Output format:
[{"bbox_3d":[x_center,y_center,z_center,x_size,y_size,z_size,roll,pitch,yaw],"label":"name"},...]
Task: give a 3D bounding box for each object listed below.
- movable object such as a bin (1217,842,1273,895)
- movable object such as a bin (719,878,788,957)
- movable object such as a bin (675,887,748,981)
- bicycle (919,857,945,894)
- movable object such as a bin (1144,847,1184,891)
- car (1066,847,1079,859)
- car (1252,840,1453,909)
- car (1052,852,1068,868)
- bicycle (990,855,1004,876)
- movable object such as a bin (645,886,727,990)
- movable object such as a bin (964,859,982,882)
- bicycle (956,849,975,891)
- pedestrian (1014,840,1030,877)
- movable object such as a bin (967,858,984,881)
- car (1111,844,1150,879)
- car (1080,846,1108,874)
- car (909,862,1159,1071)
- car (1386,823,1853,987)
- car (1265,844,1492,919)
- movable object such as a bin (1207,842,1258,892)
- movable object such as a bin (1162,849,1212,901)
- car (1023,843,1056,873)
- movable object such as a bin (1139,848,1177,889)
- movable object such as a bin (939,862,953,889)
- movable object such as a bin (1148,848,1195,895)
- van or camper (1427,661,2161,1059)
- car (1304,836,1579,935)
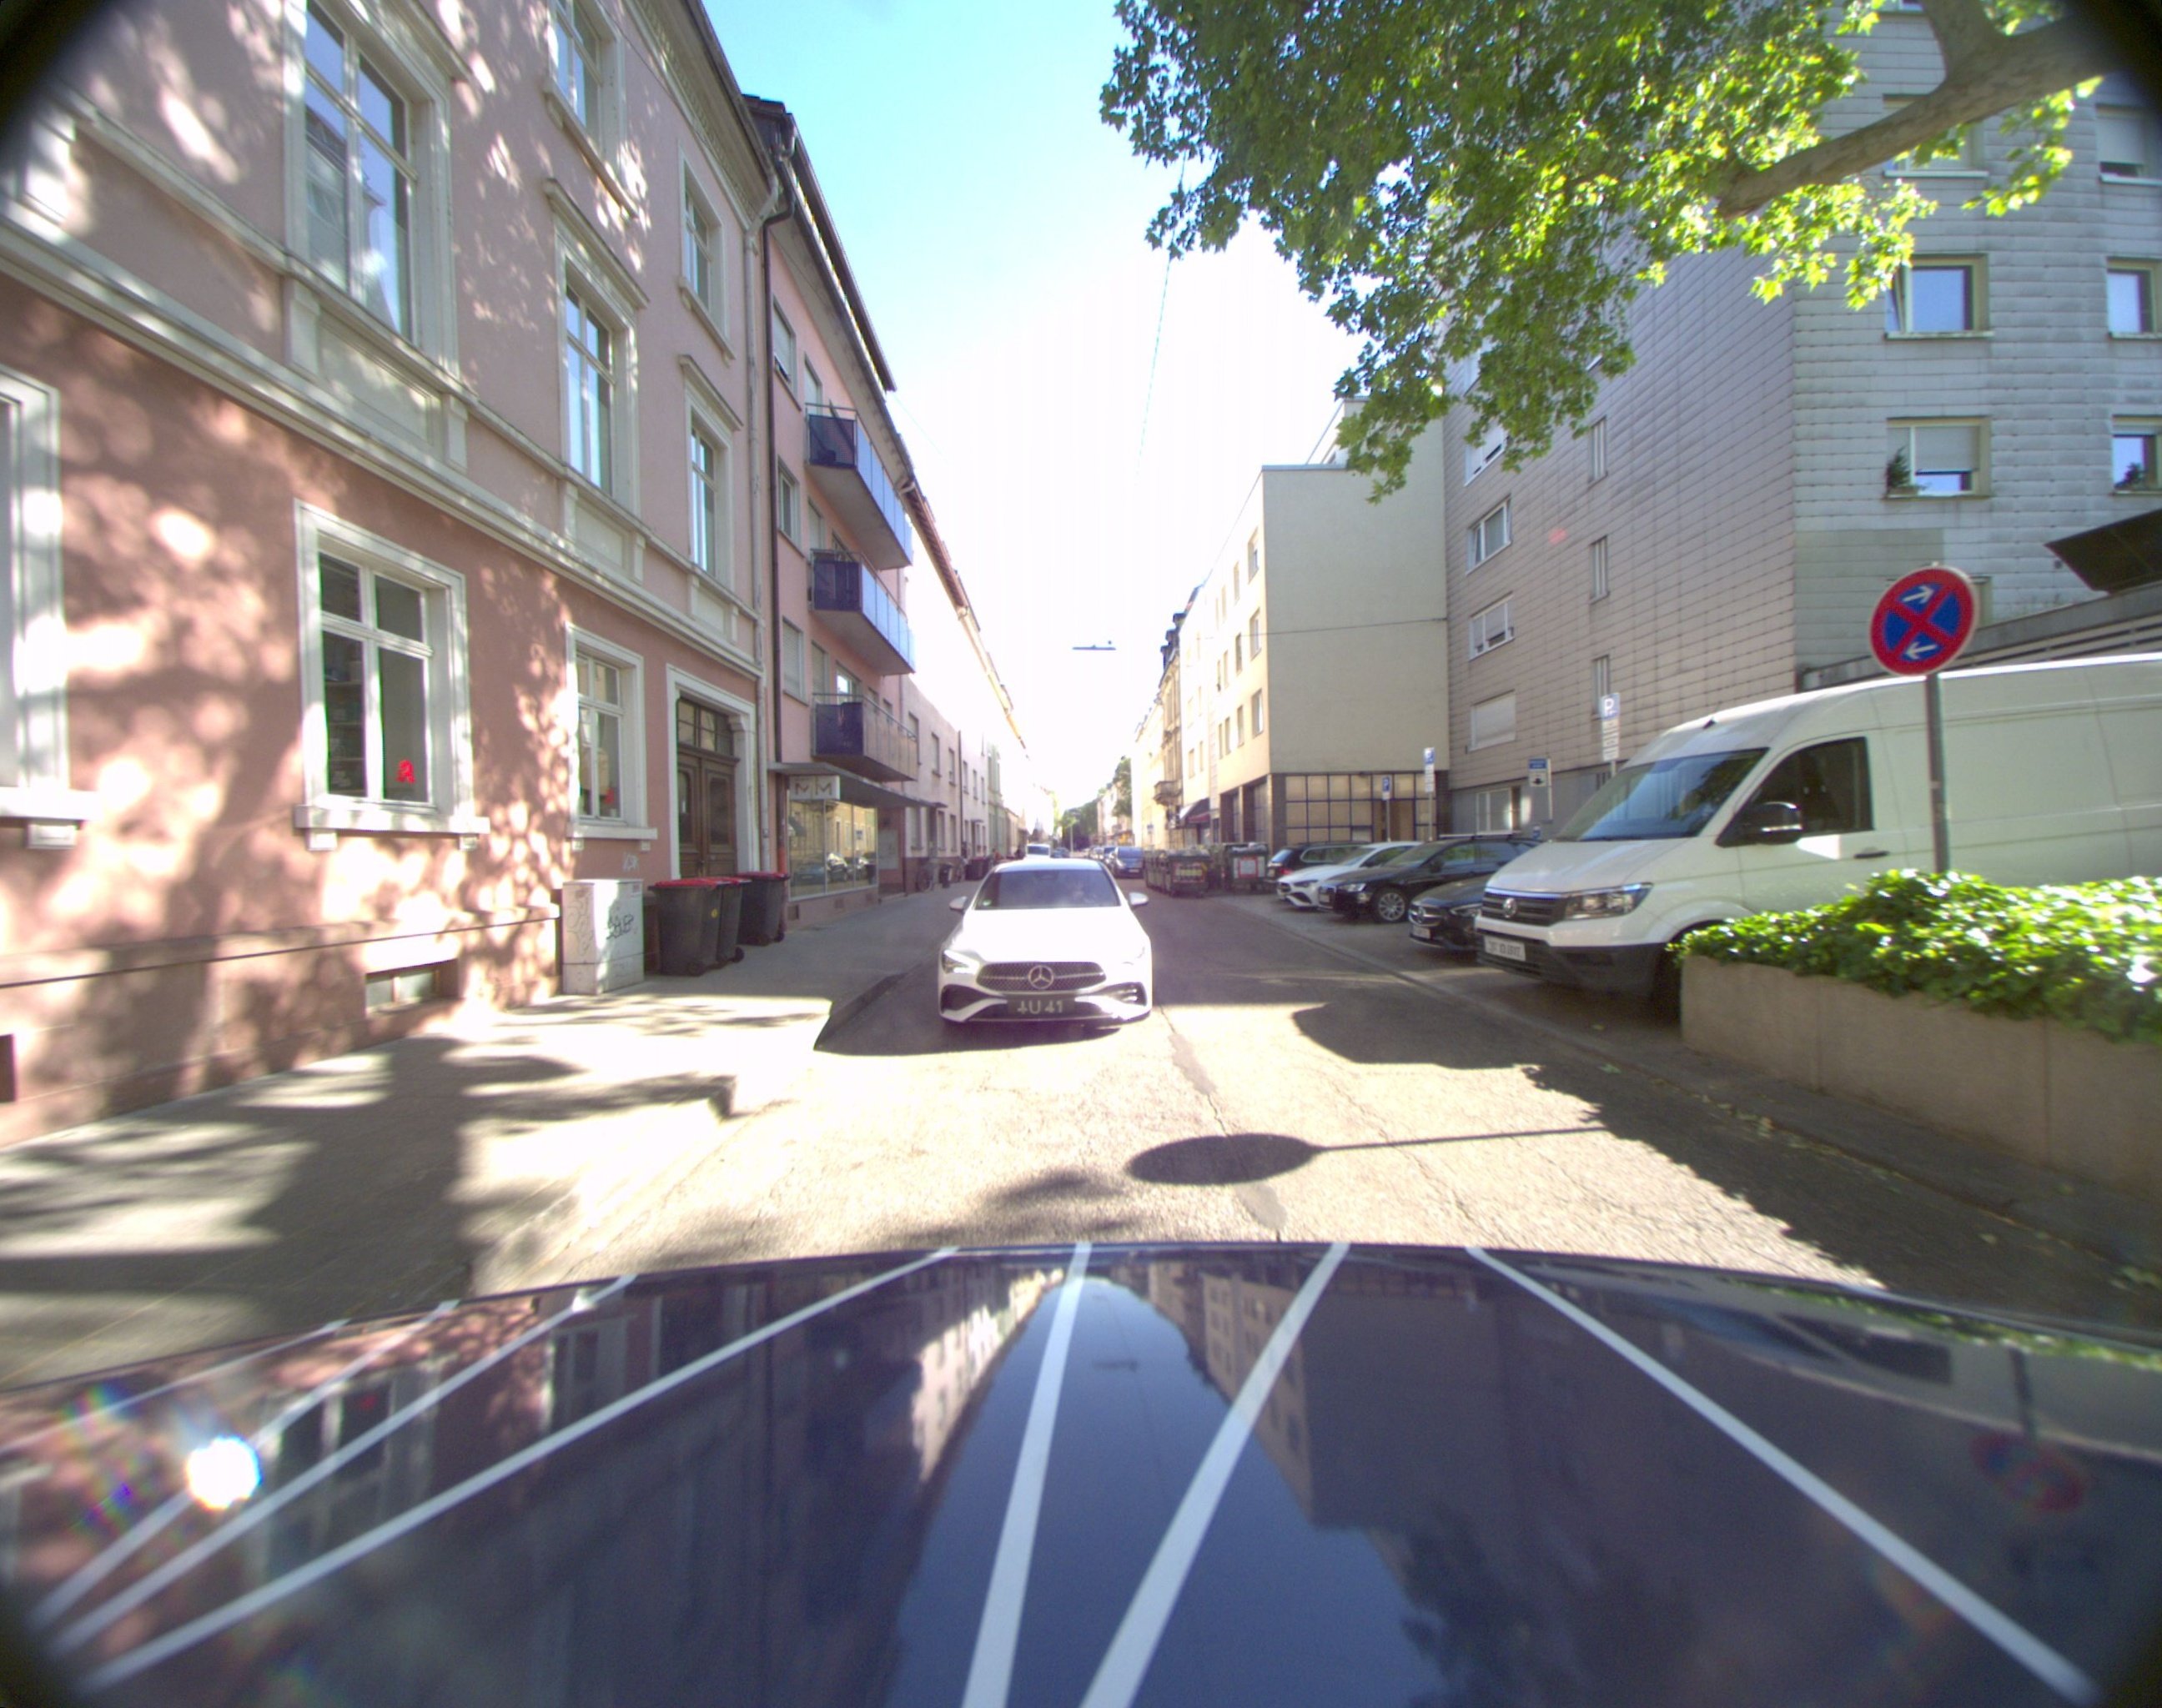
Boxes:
[{"bbox_3d":[4.847,0.407,22.547,1.328,1.492,1.194,-1,1,-2],"label":"movable object such as a bin"},{"bbox_3d":[-4.763,0.909,11.078,0.718,1.078,0.618,2,1,-2],"label":"movable object such as a bin"},{"bbox_3d":[-4.438,0.944,9.162,0.570,1.052,0.612,2,1,-2],"label":"movable object such as a bin"},{"bbox_3d":[-4.878,0.673,25.012,0.402,1.144,2.024,-1,1,1],"label":"bicycle"},{"bbox_3d":[2.962,0.522,27.292,1.222,1.492,1.560,-1,1,-2],"label":"movable object such as a bin"},{"bbox_3d":[-1.265,-0.209,112.608,1.765,1.698,4.327,-1,0,0],"label":"car"},{"bbox_3d":[6.728,0.475,19.030,4.417,1.524,1.698,-1,0,-6],"label":"car"},{"bbox_3d":[-2.392,0.665,86.992,1.765,1.698,4.327,-1,0,0],"label":"car"},{"bbox_3d":[-4.730,0.633,42.784,0.490,1.089,1.932,-1,1,1],"label":"bicycle"},{"bbox_3d":[-4.413,0.922,8.531,0.570,1.078,0.654,2,1,-2],"label":"movable object such as a bin"},{"bbox_3d":[-4.911,0.730,34.496,0.717,0.996,0.546,2,1,-2],"label":"movable object such as a bin"},{"bbox_3d":[-4.967,0.662,32.744,0.402,1.726,2.106,-1,1,1],"label":"bicycle"},{"bbox_3d":[-3.244,0.224,41.628,0.761,2.002,0.771,-1,1,1],"label":"pedestrian"},{"bbox_3d":[-4.866,0.719,35.111,0.717,0.996,0.546,2,1,-2],"label":"movable object such as a bin"},{"bbox_3d":[2.510,0.348,39.205,1.765,1.698,4.327,-1,1,1],"label":"car"},{"bbox_3d":[0.836,0.343,49.893,1.765,1.698,4.327,-1,0,1],"label":"car"},{"bbox_3d":[-0.333,0.880,8.053,1.862,1.448,4.562,-2,1,1],"label":"car"},{"bbox_3d":[6.268,0.551,9.191,4.415,1.525,1.698,-4,1,-1],"label":"car"},{"bbox_3d":[6.494,0.562,16.800,4.417,1.454,1.599,-1,0,-6],"label":"car"},{"bbox_3d":[4.742,0.398,23.943,1.222,1.492,1.517,-1,1,-2],"label":"movable object such as a bin"},{"bbox_3d":[3.187,0.595,23.075,1.241,1.492,1.877,-1,1,0],"label":"movable object such as a bin"},{"bbox_3d":[-2.591,0.223,48.634,1.765,1.843,4.327,-1,1,1],"label":"car"},{"bbox_3d":[2.914,0.530,28.892,1.222,1.492,1.560,-1,1,-2],"label":"movable object such as a bin"},{"bbox_3d":[-4.883,0.772,27.457,0.416,0.935,0.302,2,1,-2],"label":"movable object such as a bin"},{"bbox_3d":[3.015,0.550,25.479,1.247,1.492,1.925,-1,1,-2],"label":"movable object such as a bin"},{"bbox_3d":[6.976,-0.044,6.526,6.922,2.559,2.000,-4,0,1],"label":"van or camper"},{"bbox_3d":[6.656,0.534,14.258,4.417,1.607,1.698,-1,1,-6],"label":"car"}]
